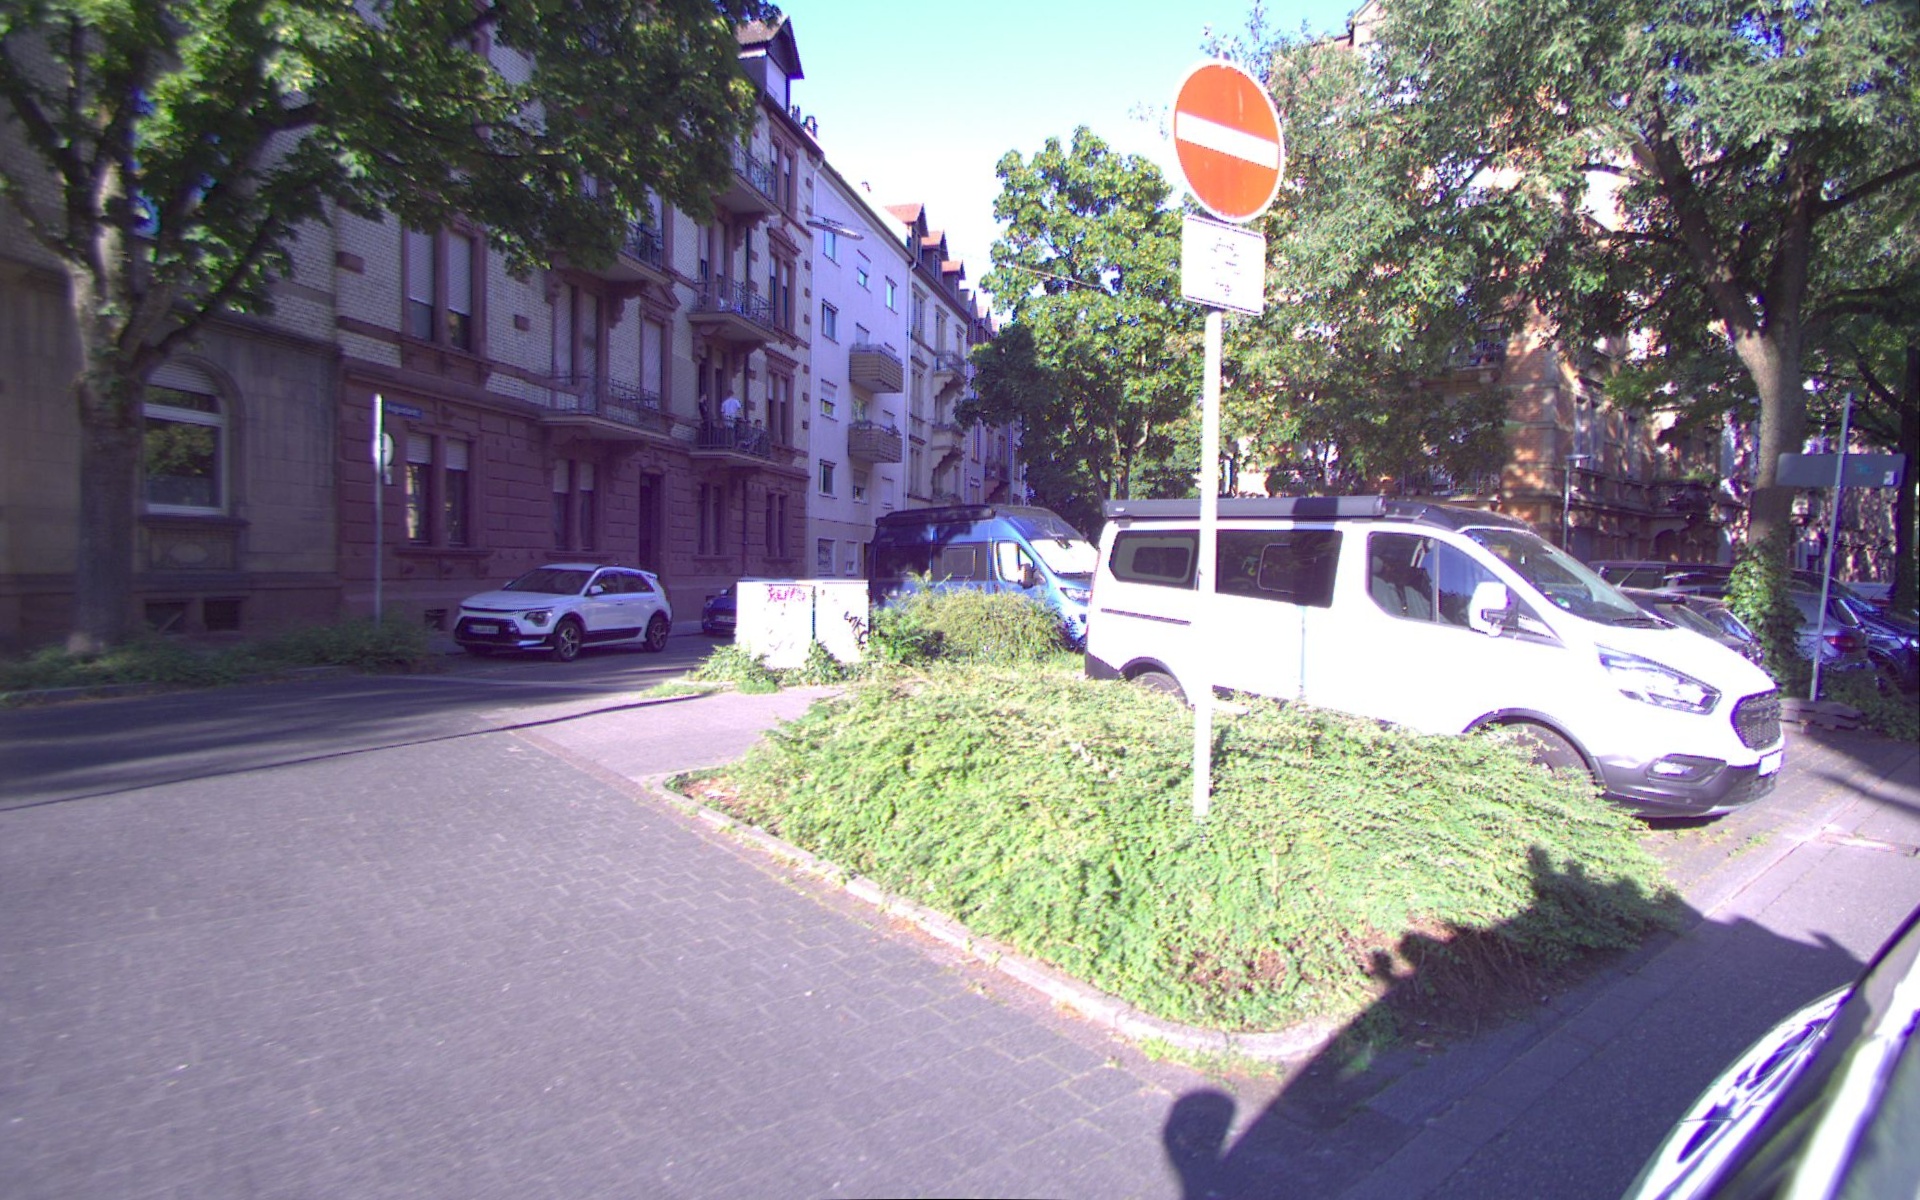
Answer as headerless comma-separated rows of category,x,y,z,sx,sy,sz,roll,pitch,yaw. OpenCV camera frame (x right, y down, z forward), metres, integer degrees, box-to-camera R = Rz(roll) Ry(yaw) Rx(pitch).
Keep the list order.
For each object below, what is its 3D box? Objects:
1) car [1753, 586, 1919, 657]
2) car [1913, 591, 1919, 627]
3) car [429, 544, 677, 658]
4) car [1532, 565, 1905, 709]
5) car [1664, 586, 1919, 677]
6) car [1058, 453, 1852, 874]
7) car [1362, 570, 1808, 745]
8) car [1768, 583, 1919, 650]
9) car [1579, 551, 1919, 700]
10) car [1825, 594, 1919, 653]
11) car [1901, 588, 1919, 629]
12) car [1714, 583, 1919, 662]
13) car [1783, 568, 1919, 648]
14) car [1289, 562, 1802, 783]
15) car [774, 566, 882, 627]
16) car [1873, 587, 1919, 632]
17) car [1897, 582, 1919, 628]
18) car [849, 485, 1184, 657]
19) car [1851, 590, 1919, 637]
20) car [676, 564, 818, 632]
car,21.669,0.504,23.839,1.899,1.473,4.380,0,3,-39
car,42.162,0.461,41.746,1.752,1.480,3.992,0,2,-43
car,-6.628,-0.046,17.037,1.755,1.630,4.201,2,2,14
car,10.745,0.405,14.560,1.769,1.713,3.994,0,2,-41
car,16.452,0.534,19.786,1.854,1.465,4.001,0,2,-35
car,3.266,0.222,7.689,2.068,2.122,4.985,0,2,-40
car,6.786,0.484,11.317,1.815,1.534,3.849,0,2,-40
car,23.469,0.427,26.074,3.987,1.492,1.754,5,3,43
car,12.760,0.283,16.058,1.966,2.038,4.622,0,2,-42
car,28.967,0.727,30.730,1.695,1.669,3.891,0,2,-42
car,40.167,0.422,40.158,1.752,1.610,3.992,0,2,-43
car,19.624,0.454,22.642,1.810,1.516,4.091,0,2,-39
car,25.739,0.194,27.343,2.121,1.962,5.104,-4,5,-39
car,5.330,0.490,9.622,1.710,1.615,3.849,0,2,-40
car,-3.787,-0.151,29.830,1.839,1.601,4.230,1,2,12
car,35.596,0.408,35.837,1.964,1.548,4.565,0,2,-38
car,38.505,0.332,38.042,1.850,1.723,4.652,0,4,-43
car,0.812,-0.542,18.101,5.897,2.569,2.342,3,2,44
car,33.507,0.507,34.325,1.898,1.521,4.670,0,2,-40
car,-5.084,-0.103,24.794,1.839,1.493,4.230,1,2,12
